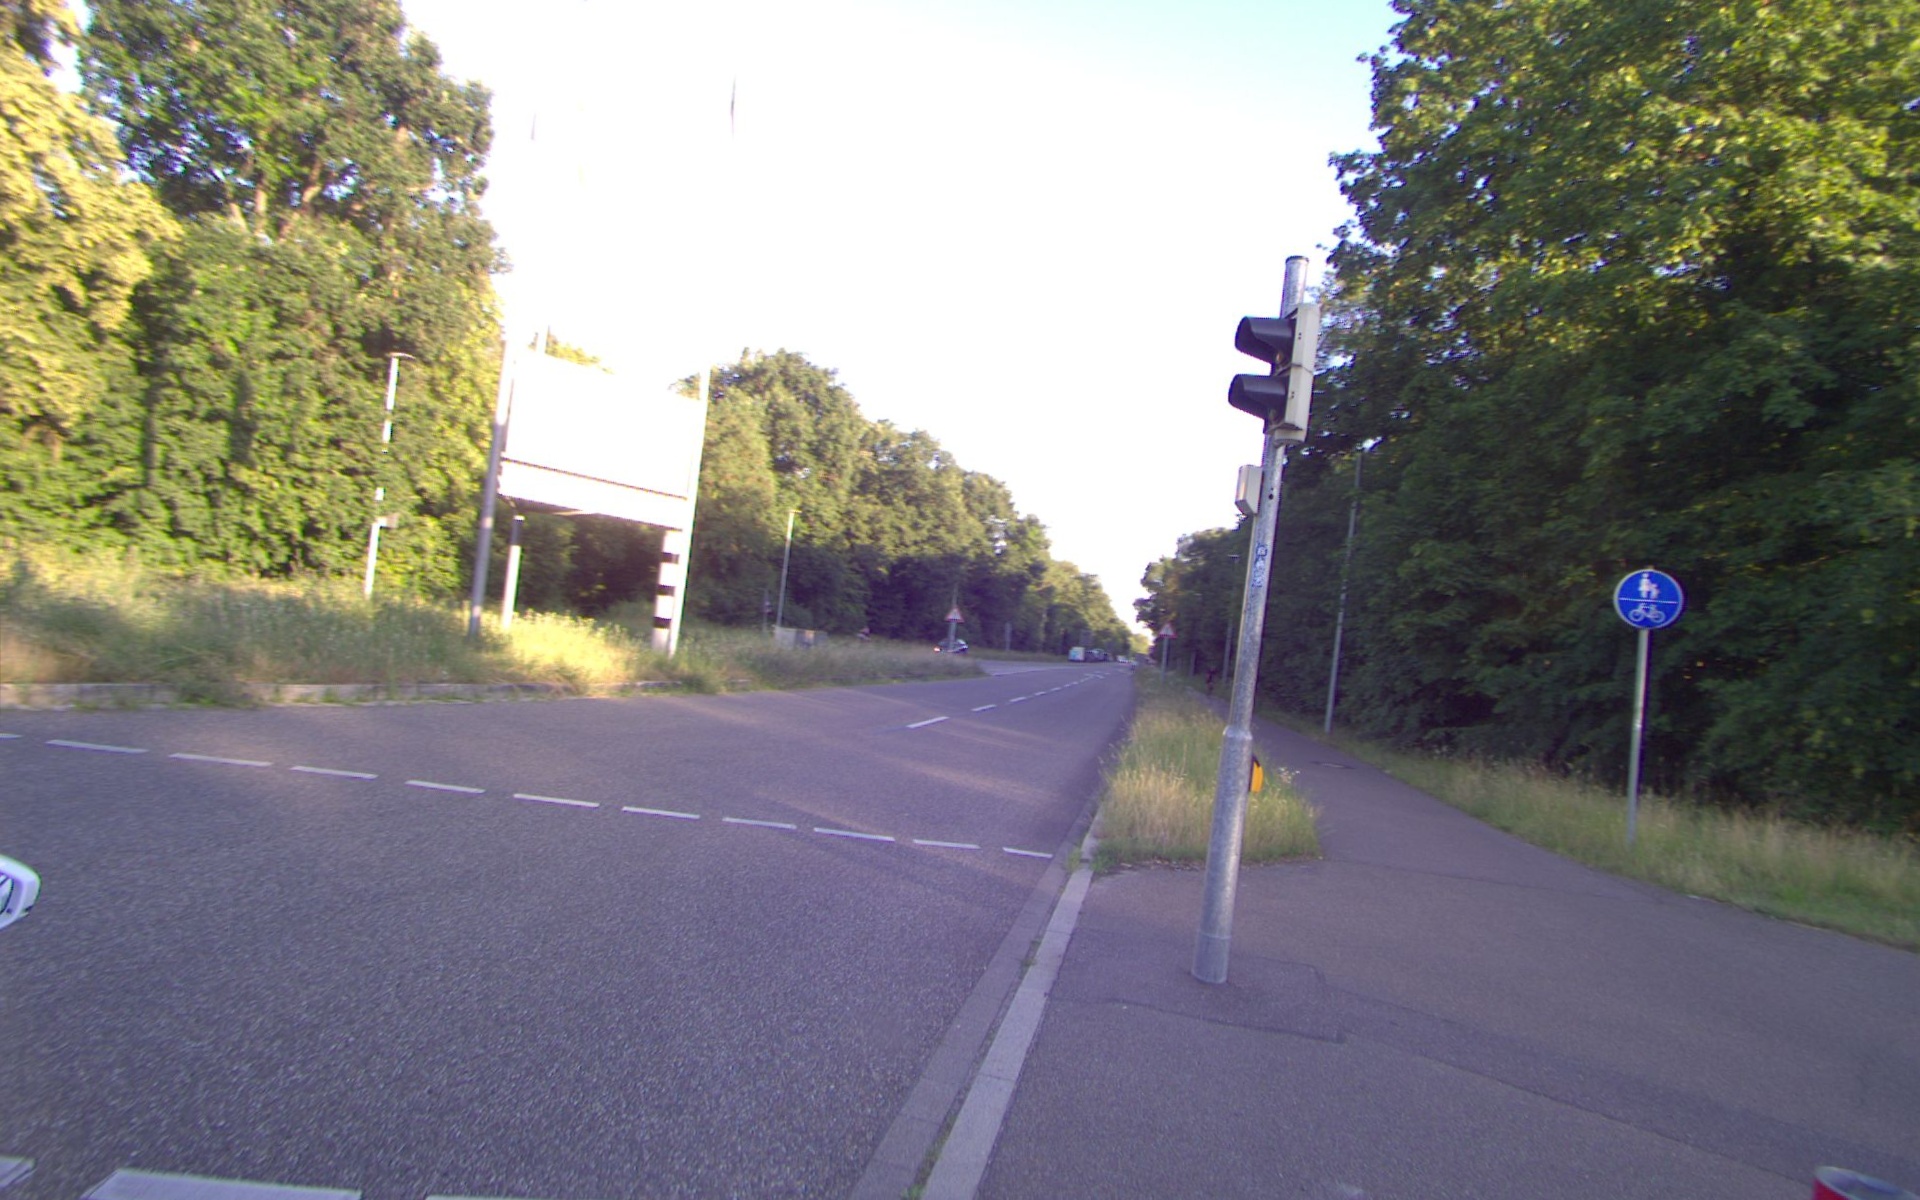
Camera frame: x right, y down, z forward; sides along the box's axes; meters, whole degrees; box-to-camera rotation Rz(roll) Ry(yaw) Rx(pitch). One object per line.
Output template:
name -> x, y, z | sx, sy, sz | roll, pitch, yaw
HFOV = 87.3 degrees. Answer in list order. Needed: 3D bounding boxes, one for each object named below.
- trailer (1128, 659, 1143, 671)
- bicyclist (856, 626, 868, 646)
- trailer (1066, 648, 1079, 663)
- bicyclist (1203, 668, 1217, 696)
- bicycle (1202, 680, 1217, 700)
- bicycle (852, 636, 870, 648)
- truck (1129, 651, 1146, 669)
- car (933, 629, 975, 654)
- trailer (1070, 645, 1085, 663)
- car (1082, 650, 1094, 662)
trailer -> 29.485, 10.937, 168.992 | 1.434, 1.681, 3.777 | 5, -2, 24
bicyclist -> -7.694, 2.833, 78.996 | 0.576, 1.446, 0.823 | 6, -1, 20
trailer -> 19.108, 9.437, 171.169 | 1.788, 2.193, 4.148 | 6, -2, 10
bicyclist -> 13.890, 4.543, 55.915 | 0.593, 1.472, 0.780 | 6, -1, 12
bicycle -> 13.837, 4.976, 55.786 | 0.601, 1.007, 1.693 | 6, -2, 12
bicycle -> -7.793, 3.341, 79.068 | 0.576, 0.814, 1.960 | 6, -2, 20
truck -> 35.448, 11.993, 200.708 | 2.548, 3.292, 7.231 | 8, -2, 12
car -> -0.415, 2.995, 71.720 | 1.790, 1.551, 4.460 | 4, -3, 15
trailer -> 21.822, 10.019, 186.550 | 2.288, 2.958, 5.634 | 4, -2, 10
car -> 26.982, 11.901, 212.451 | 1.961, 2.392, 5.773 | 4, -2, 11
